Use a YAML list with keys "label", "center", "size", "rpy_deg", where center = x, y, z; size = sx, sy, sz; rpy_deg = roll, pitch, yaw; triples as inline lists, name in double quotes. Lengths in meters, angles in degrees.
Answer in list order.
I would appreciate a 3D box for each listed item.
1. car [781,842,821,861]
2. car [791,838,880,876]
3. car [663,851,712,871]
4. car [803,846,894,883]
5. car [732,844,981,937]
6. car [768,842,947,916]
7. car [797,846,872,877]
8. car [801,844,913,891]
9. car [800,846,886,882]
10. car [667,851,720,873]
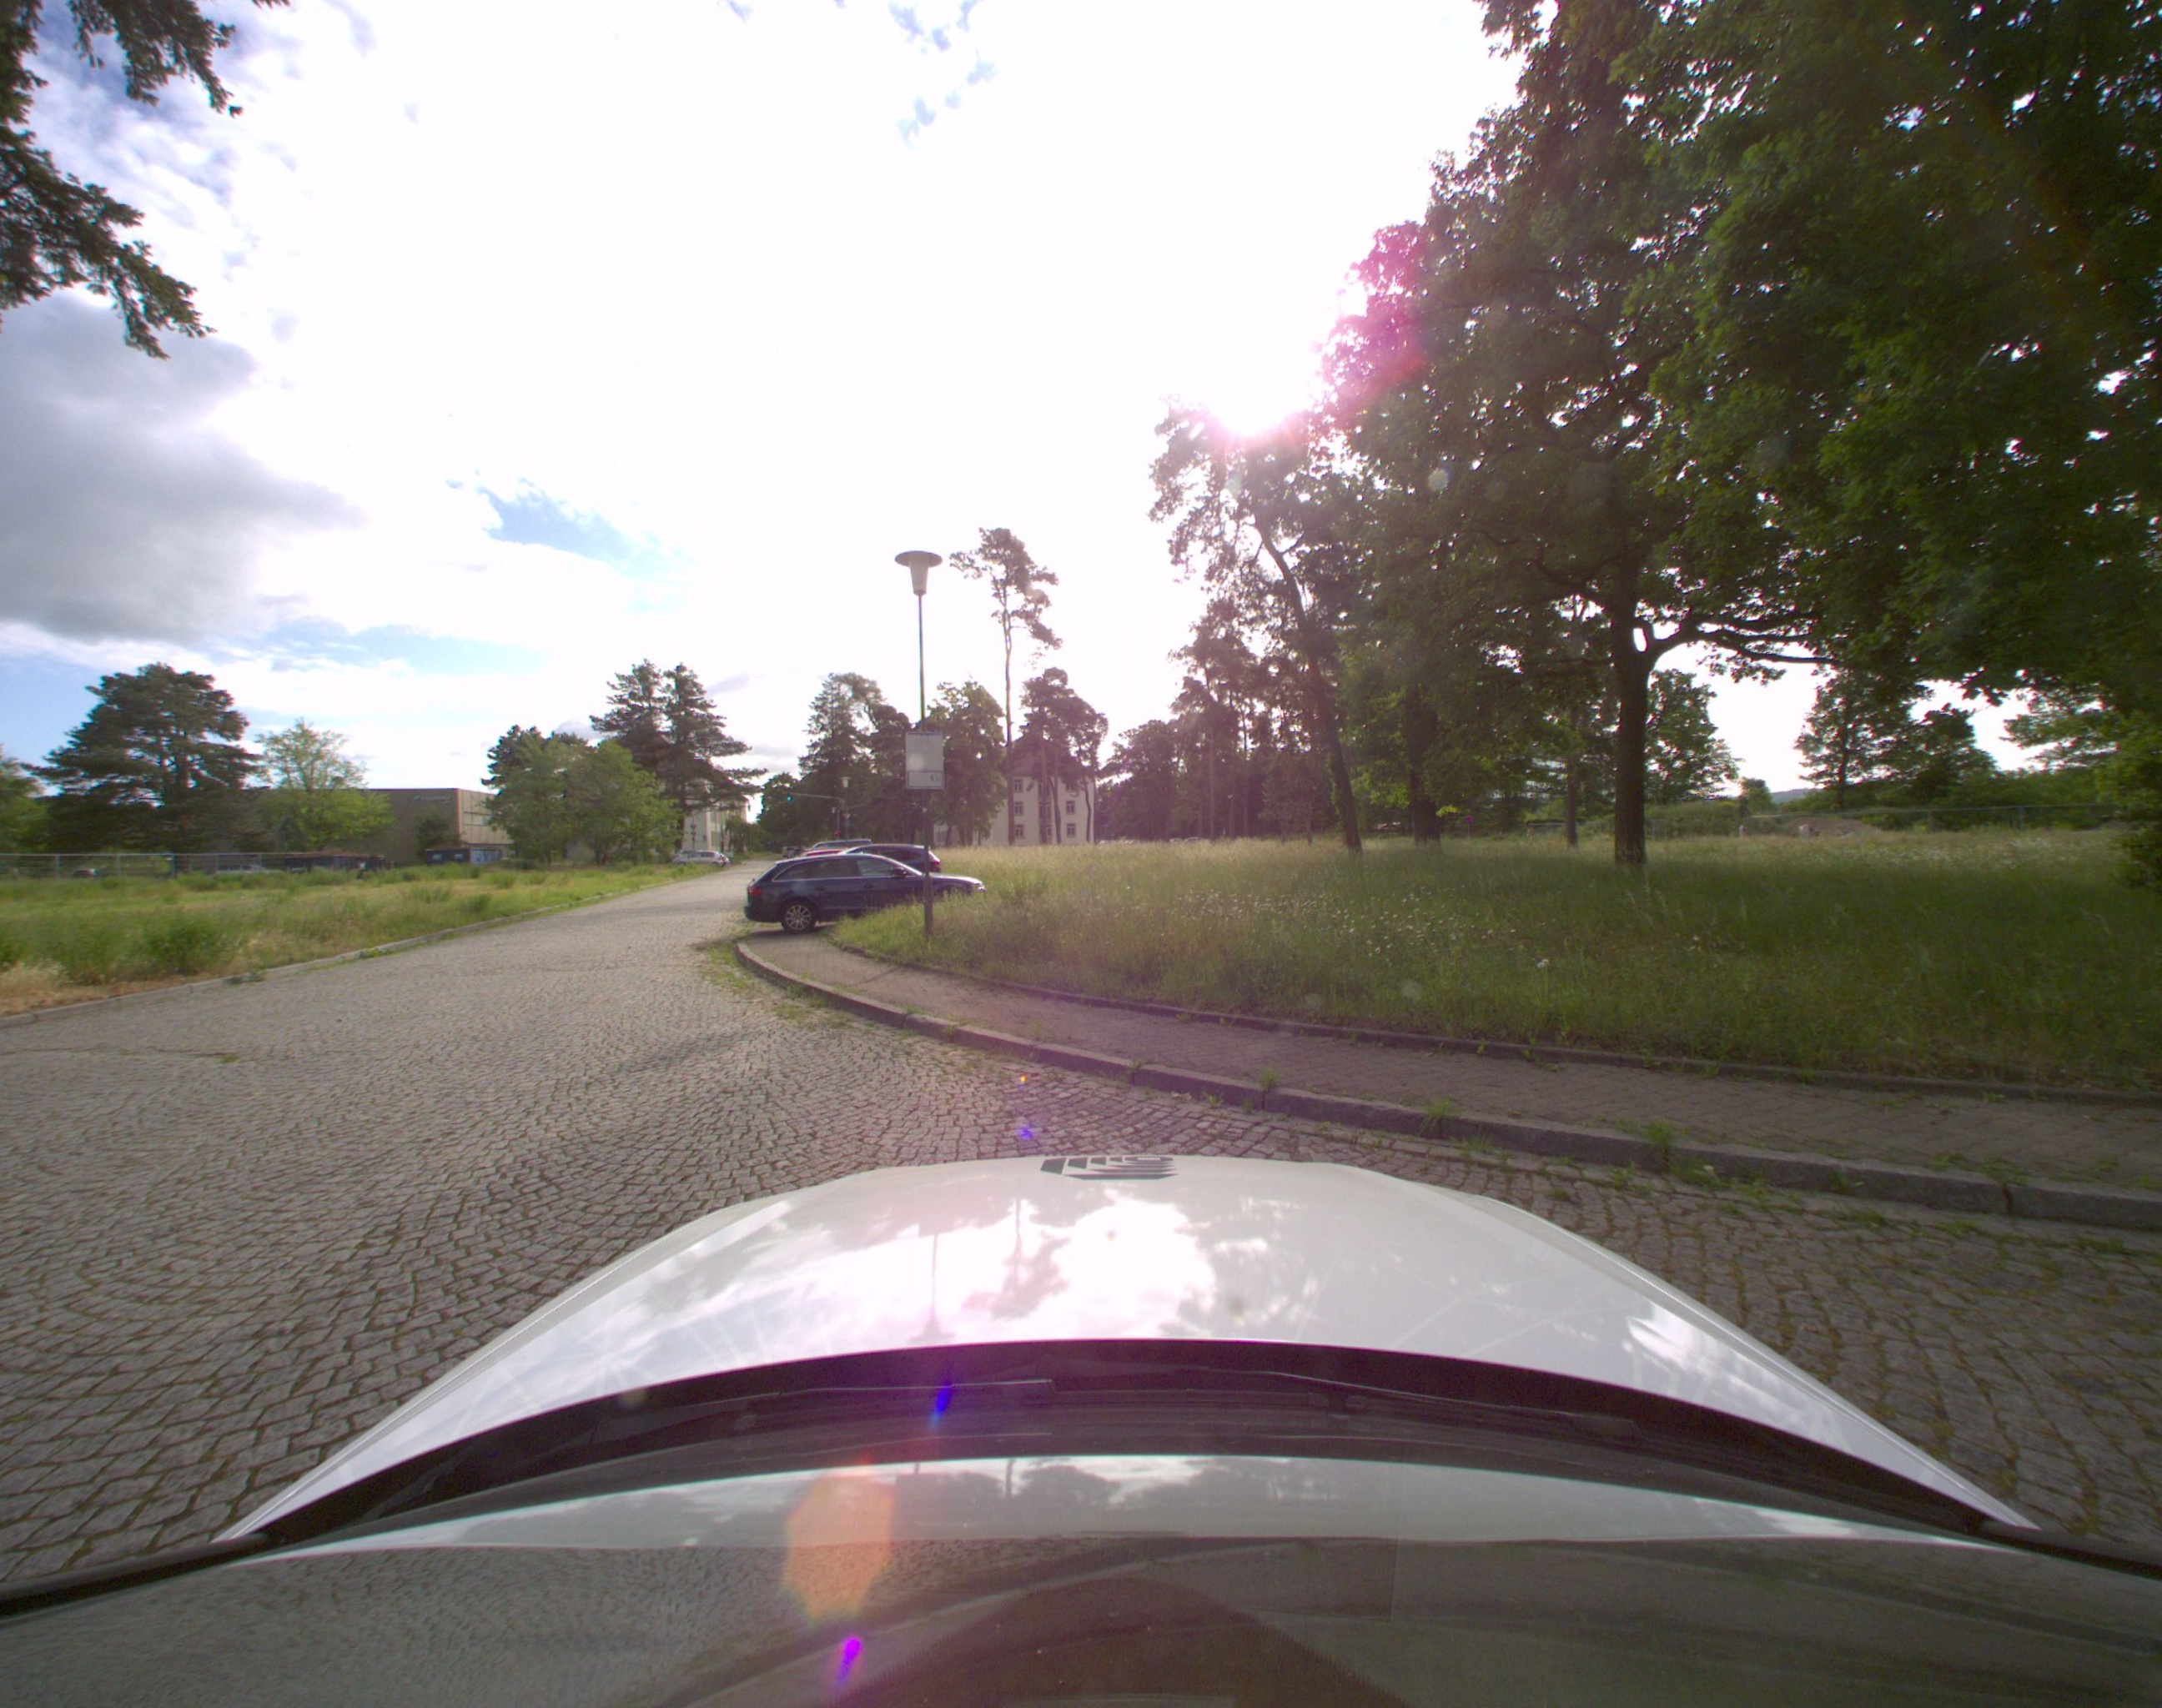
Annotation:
- label: "car"
  center: [-45.790, -0.455, 133.361]
  size: [5.808, 2.561, 2.748]
  rpy_deg: [-5, 3, -24]
- label: "car"
  center: [-14.653, 0.130, 48.584]
  size: [4.838, 1.865, 2.147]
  rpy_deg: [-5, 3, -20]
- label: "car"
  center: [-34.461, 0.607, 71.416]
  size: [3.740, 1.437, 1.613]
  rpy_deg: [-5, 3, -26]
- label: "car"
  center: [-10.797, 0.472, 37.906]
  size: [3.952, 1.520, 1.697]
  rpy_deg: [-2, 0, -18]
- label: "car"
  center: [-4.310, 0.646, 16.031]
  size: [4.439, 1.479, 1.674]
  rpy_deg: [-3, 1, -15]
- label: "car"
  center: [-5.647, 0.560, 20.673]
  size: [4.152, 1.572, 1.779]
  rpy_deg: [-2, 2, -20]
- label: "car"
  center: [-13.956, 0.391, 46.075]
  size: [3.934, 1.392, 1.731]
  rpy_deg: [-5, 3, -20]
- label: "car"
  center: [-8.430, 0.473, 30.631]
  size: [3.896, 1.478, 1.661]
  rpy_deg: [-3, 1, -19]
- label: "car"
  center: [-11.825, 0.471, 40.401]
  size: [3.920, 1.603, 1.808]
  rpy_deg: [-2, 1, -21]
- label: "car"
  center: [-31.714, 0.628, 66.690]
  size: [3.735, 1.437, 1.615]
  rpy_deg: [-4, 3, -22]
